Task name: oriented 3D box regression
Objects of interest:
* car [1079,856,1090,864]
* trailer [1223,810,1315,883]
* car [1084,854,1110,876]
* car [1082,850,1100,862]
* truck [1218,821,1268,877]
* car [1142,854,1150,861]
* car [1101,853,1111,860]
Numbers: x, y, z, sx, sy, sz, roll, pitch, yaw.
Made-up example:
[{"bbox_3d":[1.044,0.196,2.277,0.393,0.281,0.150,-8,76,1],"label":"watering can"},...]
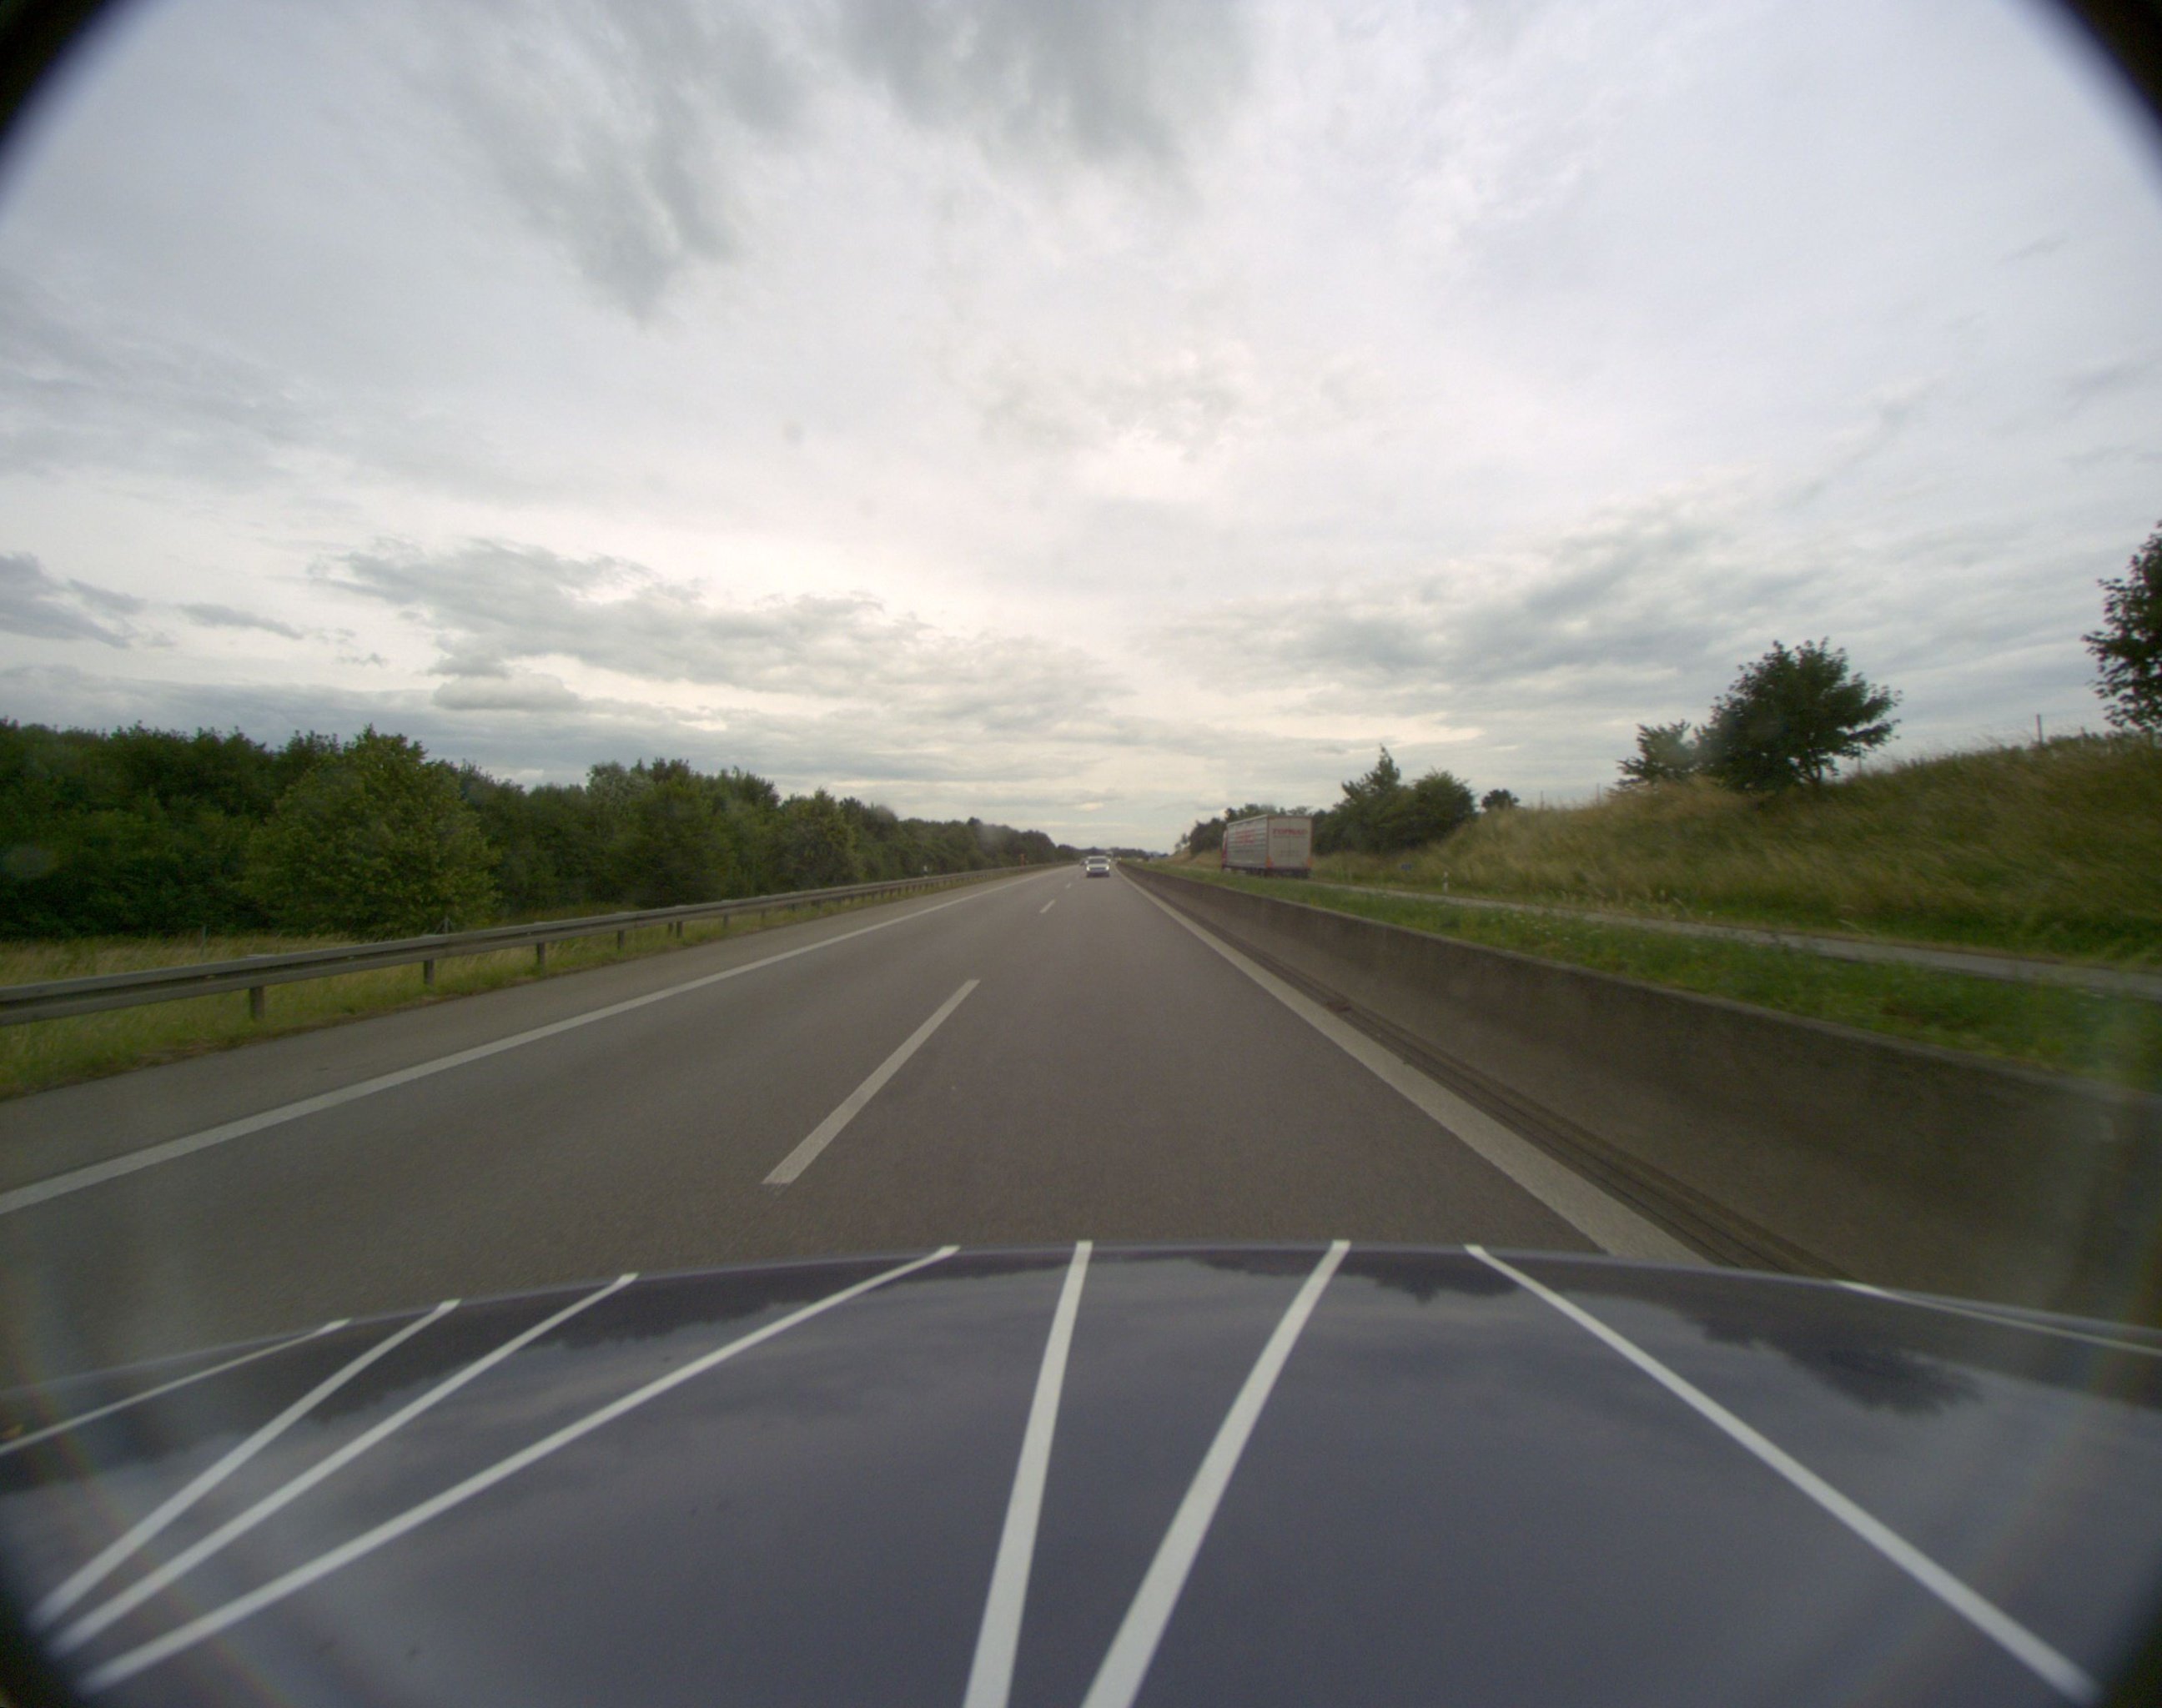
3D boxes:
[{"bbox_3d":[0.752,1.172,151.731,1.915,1.553,4.290,-1,0,5],"label":"car"},{"bbox_3d":[12.095,-0.391,50.592,2.713,4.064,14.598,1,0,1],"label":"trailer"},{"bbox_3d":[1.210,0.834,59.365,1.916,1.553,4.288,-1,0,0],"label":"car"},{"bbox_3d":[1.334,0.253,100.263,1.915,1.553,4.290,-1,0,5],"label":"car"},{"bbox_3d":[12.256,-0.353,57.744,2.713,4.064,5.165,1,0,1],"label":"truck"},{"bbox_3d":[21.245,1.097,248.859,2.175,2.450,6.724,1,0,2],"label":"car"},{"bbox_3d":[5.670,0.538,171.043,1.915,1.553,4.290,-1,0,5],"label":"car"}]
